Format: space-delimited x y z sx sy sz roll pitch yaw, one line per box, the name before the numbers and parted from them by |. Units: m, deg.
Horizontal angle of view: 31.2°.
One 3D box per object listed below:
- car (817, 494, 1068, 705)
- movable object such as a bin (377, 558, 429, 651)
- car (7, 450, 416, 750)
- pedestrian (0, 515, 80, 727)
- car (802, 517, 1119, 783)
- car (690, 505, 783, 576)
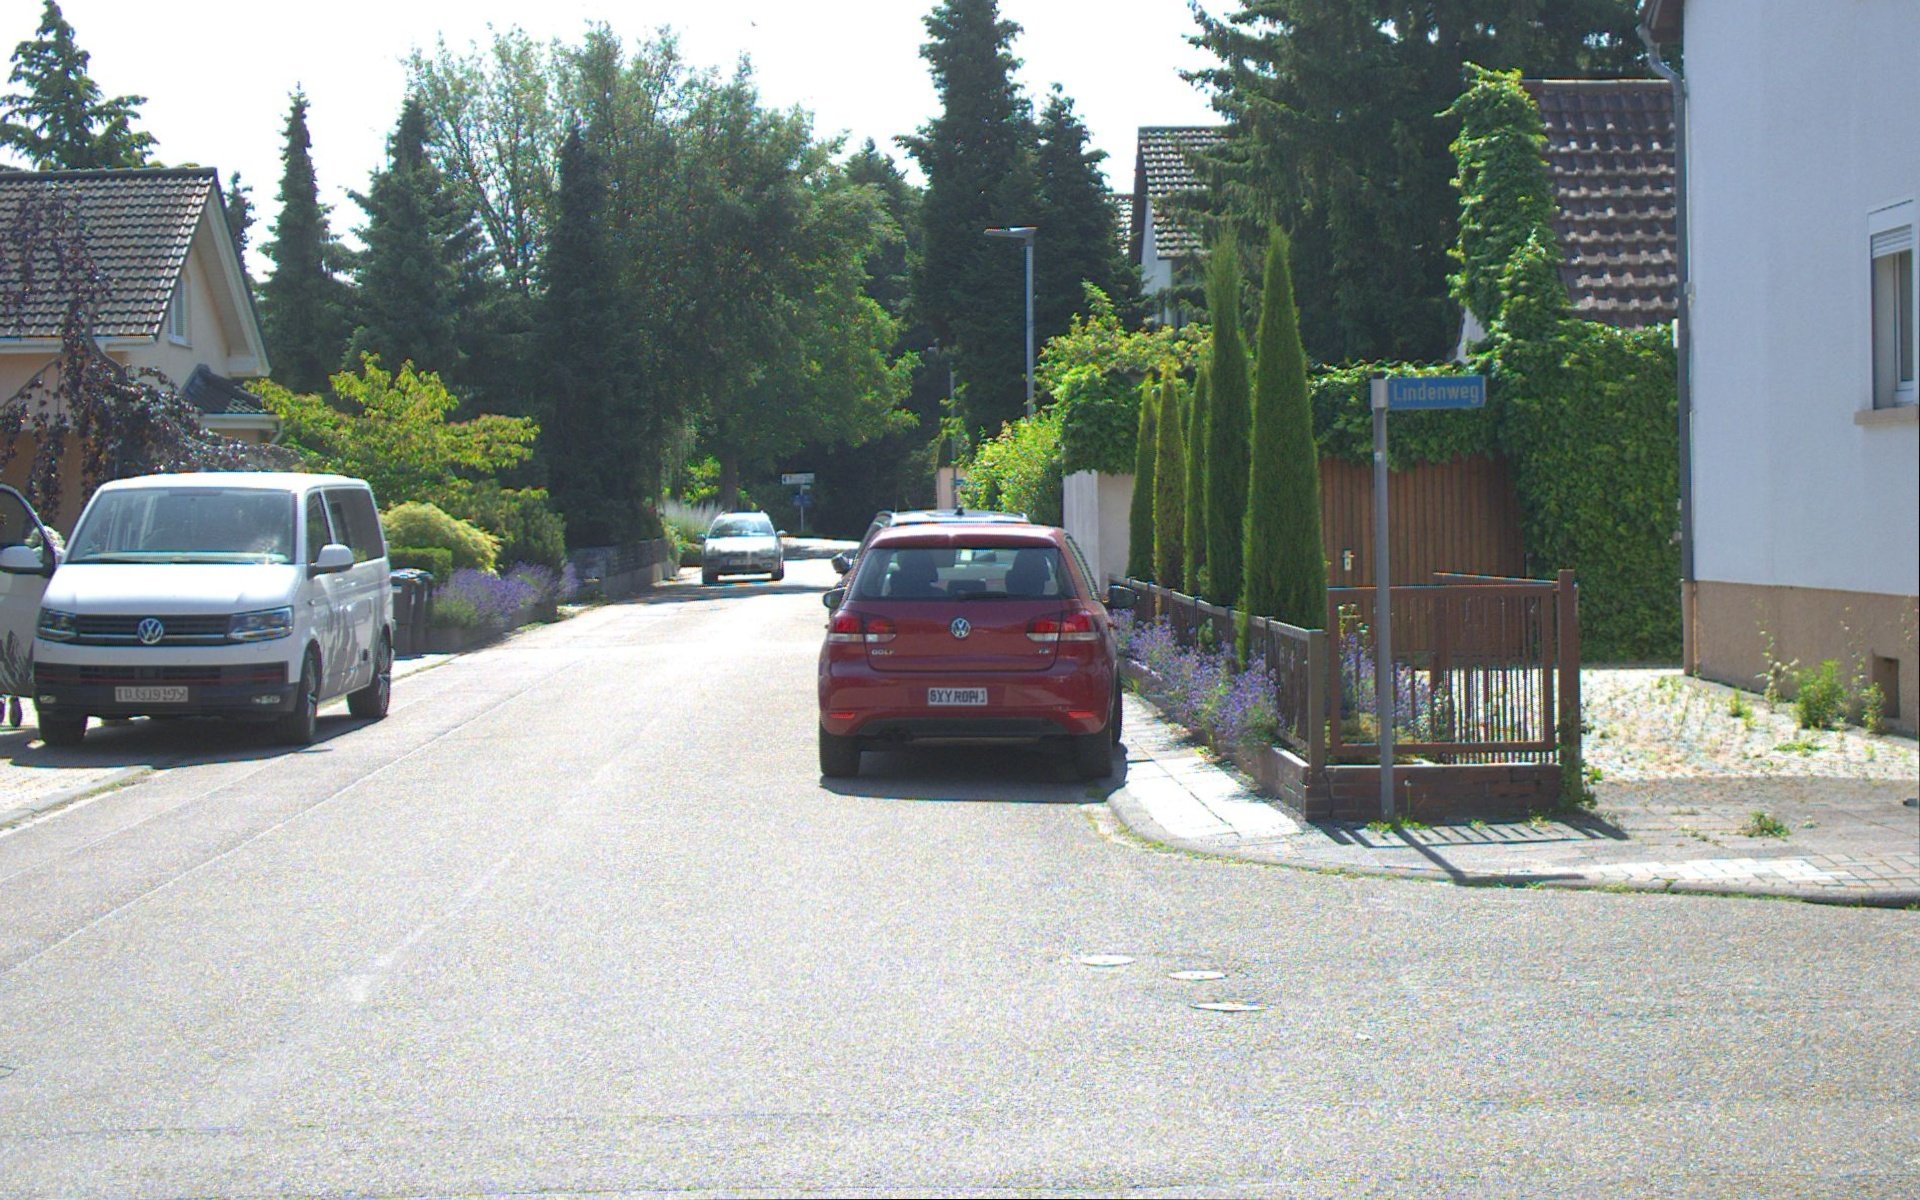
car | -0.212 -0.052 28.268 1.822 1.610 4.001 0 1 -4
movable object such as a bin | -6.294 0.046 38.875 0.494 1.021 0.447 -1 2 -1
car | -5.453 -0.060 25.715 1.929 2.007 4.896 -1 1 0
pedestrian | -7.045 0.143 25.542 0.718 1.533 0.641 1 2 32
car | 0.077 0.233 21.438 1.775 1.474 4.000 1 1 2
car | -4.873 -1.329 75.356 1.752 1.482 4.376 -1 1 0
